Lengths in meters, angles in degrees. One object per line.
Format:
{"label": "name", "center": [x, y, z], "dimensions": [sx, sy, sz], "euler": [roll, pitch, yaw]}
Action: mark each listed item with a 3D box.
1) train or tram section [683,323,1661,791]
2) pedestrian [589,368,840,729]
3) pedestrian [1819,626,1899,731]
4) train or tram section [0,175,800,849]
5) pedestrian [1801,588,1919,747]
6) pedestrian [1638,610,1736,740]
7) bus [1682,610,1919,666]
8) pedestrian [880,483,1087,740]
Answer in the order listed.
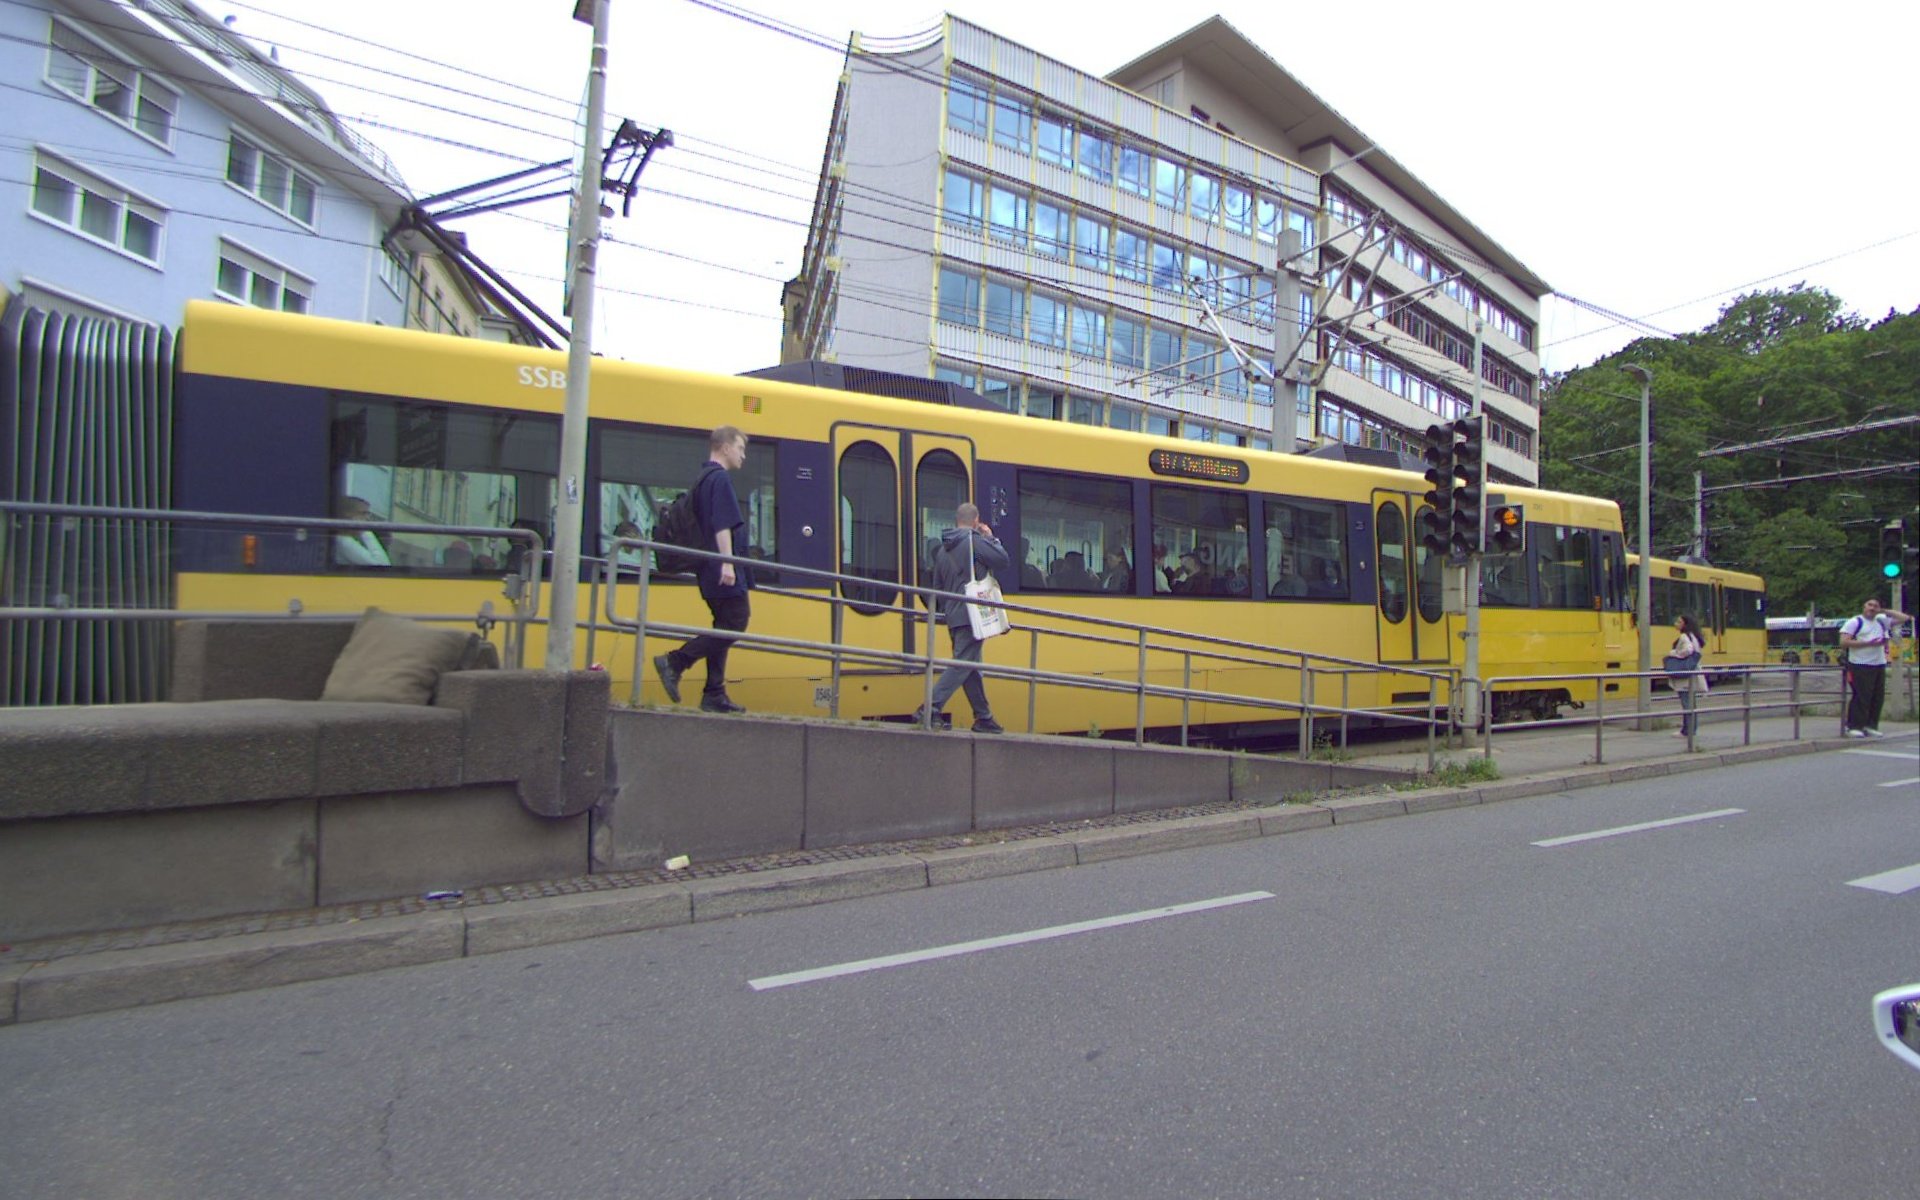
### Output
{"label": "train or tram section", "center": [3.962, -0.111, 12.961], "dimensions": [14.313, 3.711, 2.867], "euler": [2, -3, -32]}
{"label": "pedestrian", "center": [-1.537, -0.237, 6.269], "dimensions": [1.219, 1.995, 0.925], "euler": [5, -5, -30]}
{"label": "pedestrian", "center": [13.240, 1.165, 14.805], "dimensions": [0.664, 1.482, 0.577], "euler": [4, -5, -10]}
{"label": "train or tram section", "center": [-7.996, -0.506, 5.521], "dimensions": [14.071, 3.711, 2.867], "euler": [2, -3, -32]}
{"label": "pedestrian", "center": [12.615, 0.952, 13.971], "dimensions": [1.014, 2.093, 0.967], "euler": [4, -5, -10]}
{"label": "pedestrian", "center": [9.586, 0.974, 13.248], "dimensions": [0.989, 1.646, 0.672], "euler": [2, -3, -31]}
{"label": "bus", "center": [51.269, 2.433, 61.803], "dimensions": [3.334, 3.068, 11.514], "euler": [0, -3, -16]}
{"label": "pedestrian", "center": [0.158, 0.130, 7.529], "dimensions": [1.030, 1.701, 1.111], "euler": [7, -6, -30]}
